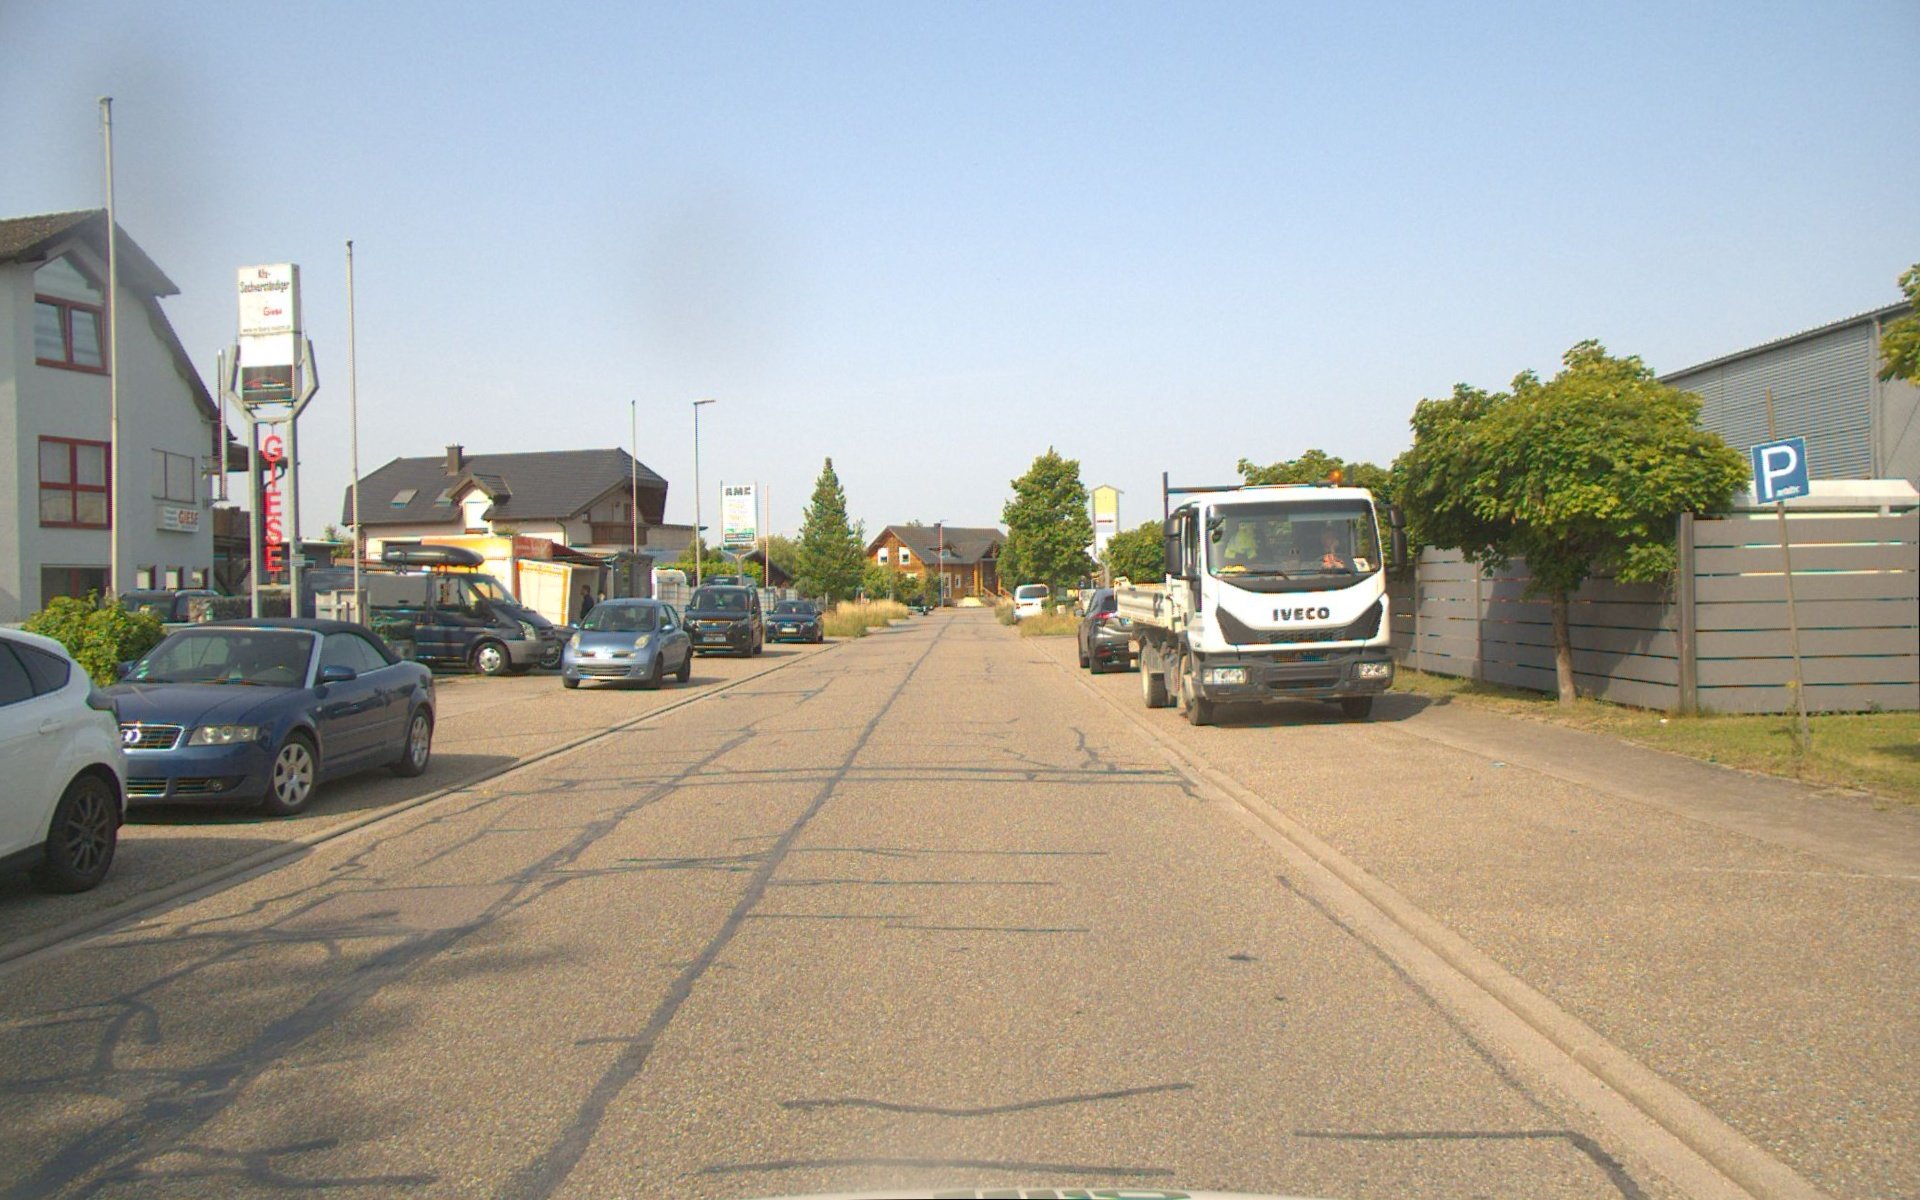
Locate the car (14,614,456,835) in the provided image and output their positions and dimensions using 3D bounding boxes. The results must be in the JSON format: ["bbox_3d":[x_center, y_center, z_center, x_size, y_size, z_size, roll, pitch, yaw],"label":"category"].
[{"bbox_3d":[-5.513,0.849,13.240,1.600,1.411,4.369,1,0,0],"label":"car"}]

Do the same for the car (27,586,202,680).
[{"bbox_3d":[-16.392,0.599,32.236,1.514,1.691,3.475,-1,0,2],"label":"car"}]

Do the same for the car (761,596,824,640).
[{"bbox_3d":[-5.649,0.599,56.119,1.763,1.411,3.638,1,0,0],"label":"car"}]

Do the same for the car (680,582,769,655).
[{"bbox_3d":[-6.154,0.448,43.584,1.763,1.805,4.202,1,0,0],"label":"car"}]

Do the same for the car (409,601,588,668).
[{"bbox_3d":[-10.235,0.754,36.890,3.516,1.439,1.761,1,0,-3],"label":"car"}]

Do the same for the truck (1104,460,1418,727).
[{"bbox_3d":[3.449,-0.091,20.603,2.312,2.728,6.506,-2,0,-3],"label":"truck"}]

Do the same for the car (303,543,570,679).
[{"bbox_3d":[-10.249,0.202,32.619,4.530,2.459,2.001,-2,0,2],"label":"car"}]

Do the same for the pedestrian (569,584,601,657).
[{"bbox_3d":[-9.153,0.501,40.403,0.558,1.745,0.527,-2,0,-38],"label":"pedestrian"}]

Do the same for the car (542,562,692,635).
[{"bbox_3d":[-13.334,-0.075,64.365,5.050,2.631,2.577,-2,0,21],"label":"car"}]

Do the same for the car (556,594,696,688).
[{"bbox_3d":[-5.858,0.681,29.384,1.599,1.544,3.607,1,0,3],"label":"car"}]

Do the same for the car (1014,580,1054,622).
[{"bbox_3d":[3.679,0.046,82.677,1.800,1.957,3.756,-2,0,0],"label":"car"}]

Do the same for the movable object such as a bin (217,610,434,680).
[{"bbox_3d":[-11.575,0.800,30.281,3.252,1.167,1.763,0,1,9],"label":"movable object such as a bin"}]

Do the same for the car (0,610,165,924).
[{"bbox_3d":[-5.459,0.812,7.471,1.649,1.495,4.254,1,0,0],"label":"car"}]

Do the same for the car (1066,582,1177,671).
[{"bbox_3d":[3.107,0.461,32.541,1.758,1.587,4.000,0,1,-1],"label":"car"}]
